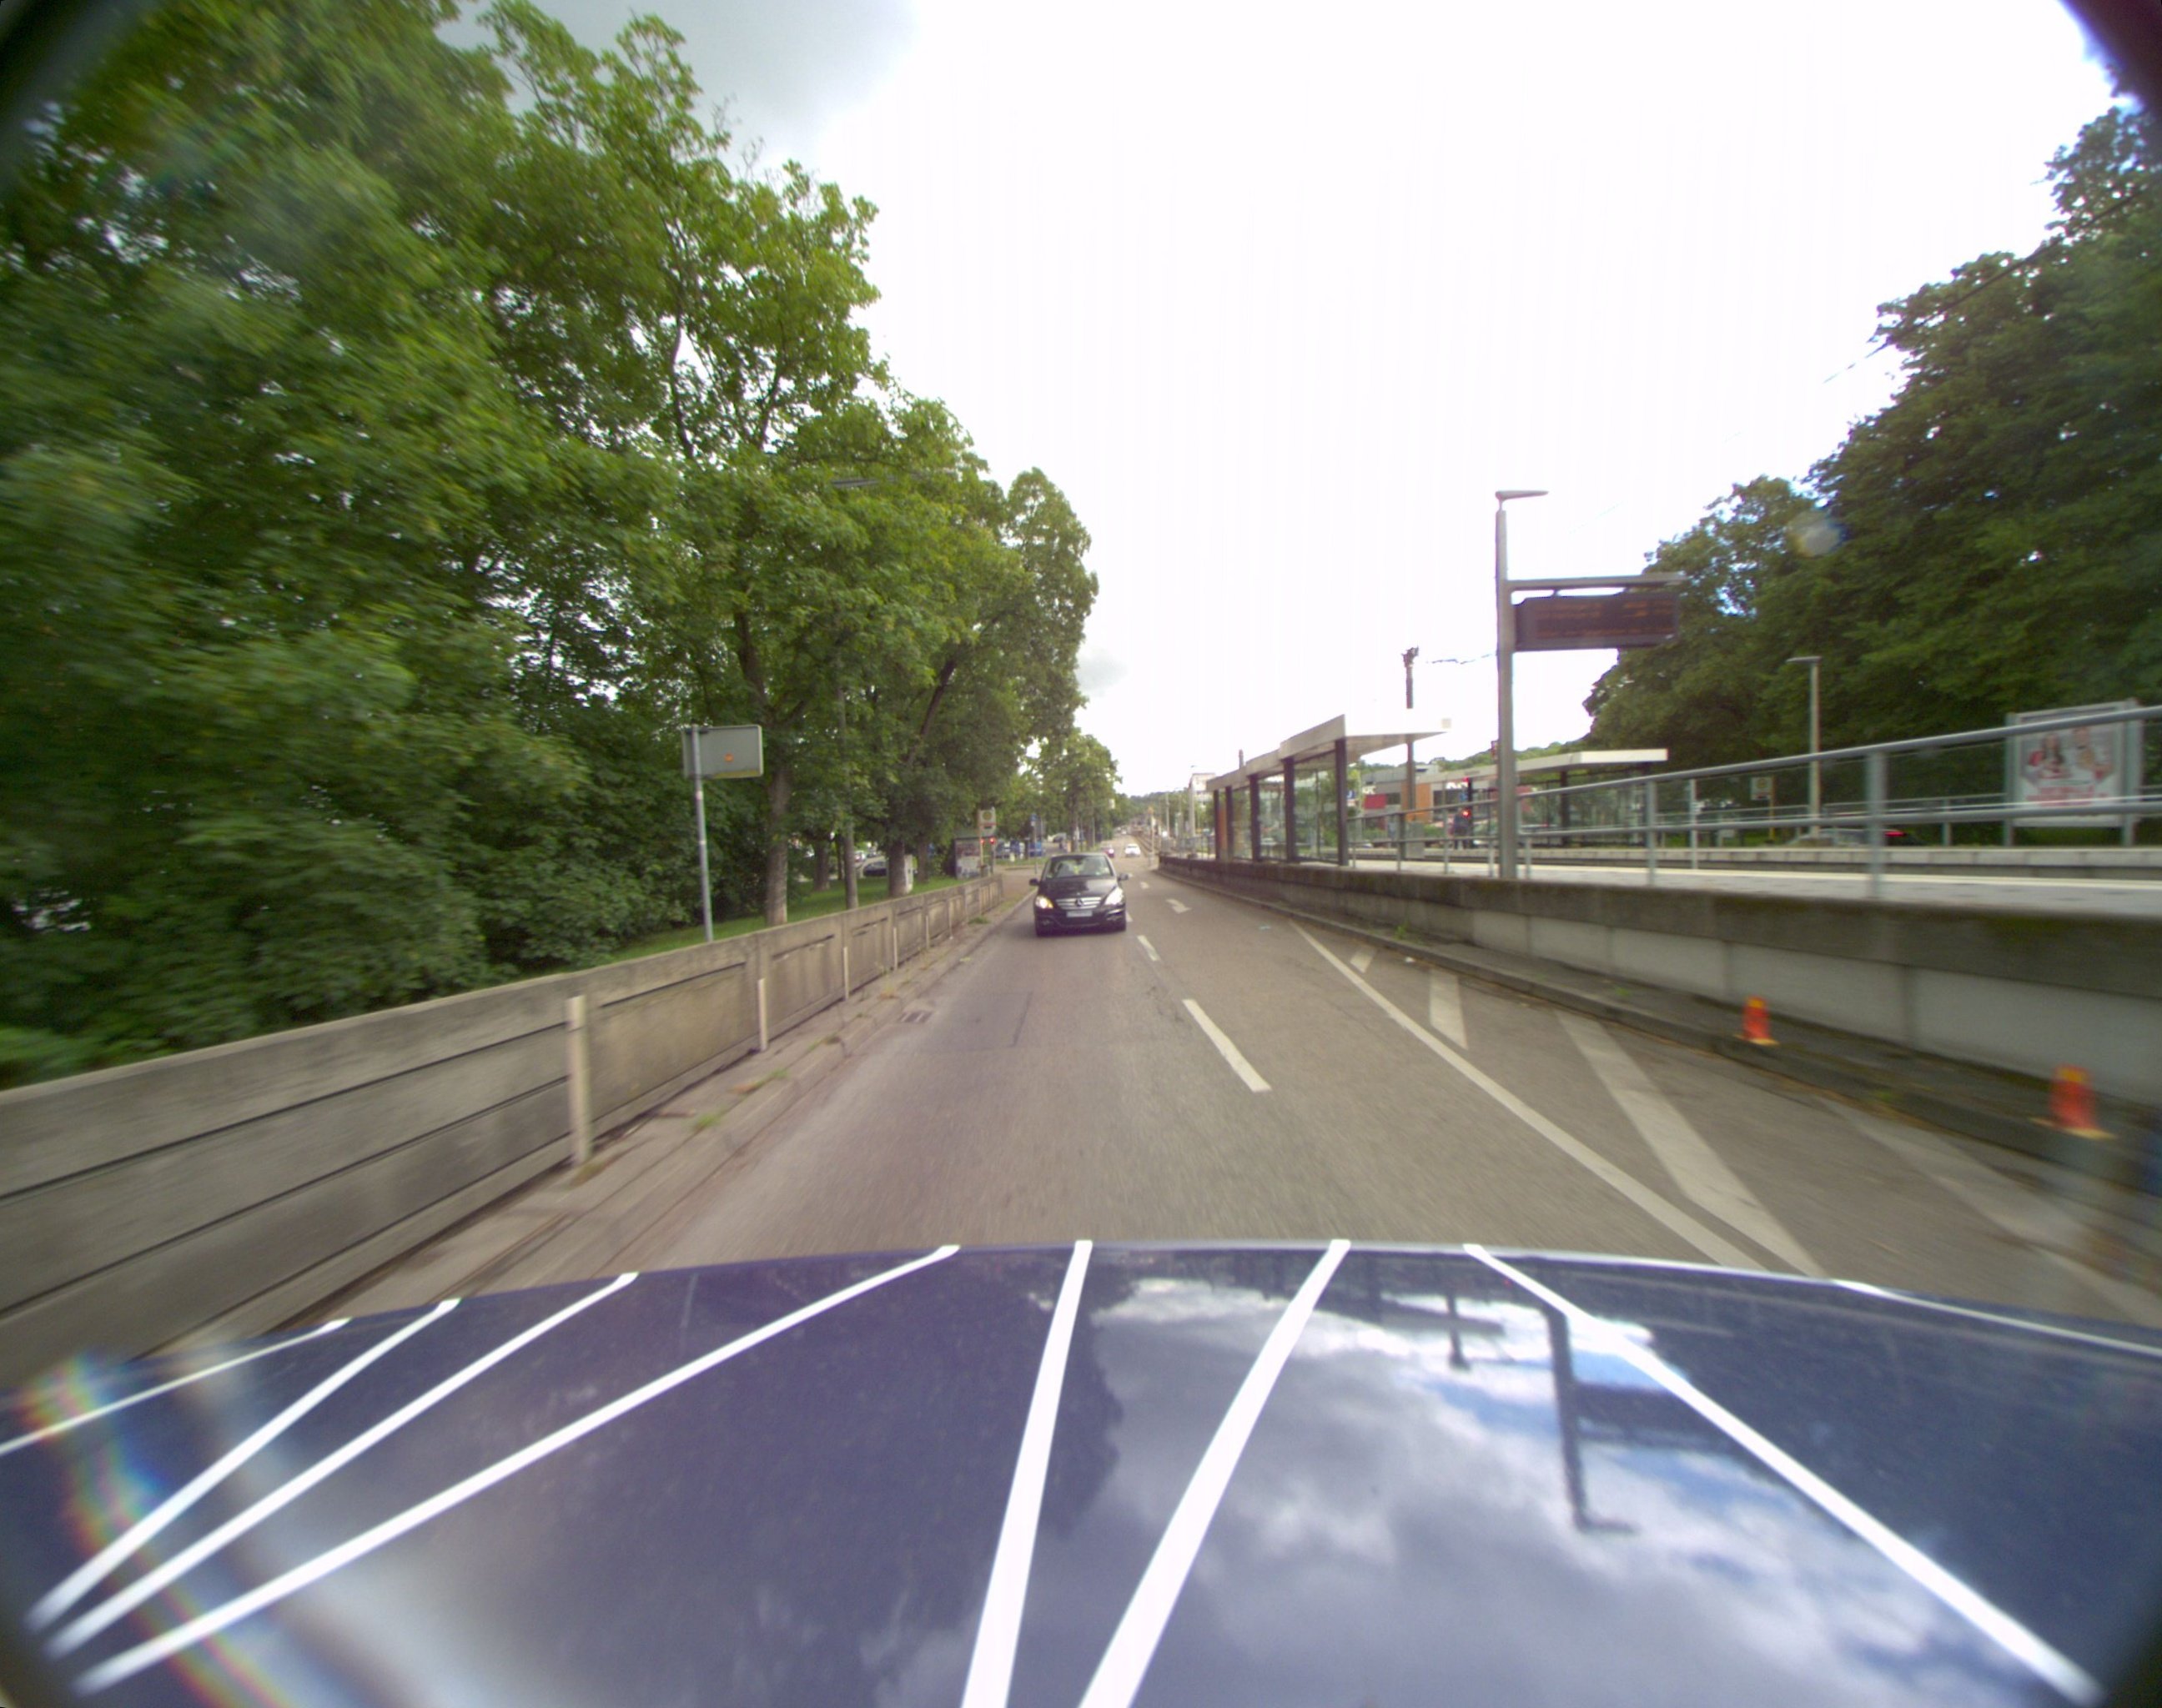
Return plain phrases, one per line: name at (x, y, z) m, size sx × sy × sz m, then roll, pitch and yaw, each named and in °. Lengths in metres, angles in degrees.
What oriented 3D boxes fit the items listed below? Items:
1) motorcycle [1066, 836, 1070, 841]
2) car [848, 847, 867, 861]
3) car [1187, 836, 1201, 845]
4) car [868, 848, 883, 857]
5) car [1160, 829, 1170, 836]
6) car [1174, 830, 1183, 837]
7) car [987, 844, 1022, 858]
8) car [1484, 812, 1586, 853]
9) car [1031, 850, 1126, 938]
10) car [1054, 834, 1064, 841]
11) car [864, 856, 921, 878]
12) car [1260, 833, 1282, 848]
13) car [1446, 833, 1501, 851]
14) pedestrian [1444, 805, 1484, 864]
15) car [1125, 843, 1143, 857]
motorcycle at (-3.151, -3.702, 181.816) m, size 0.704 × 1.180 × 2.387 m, roll -2°, pitch 2°, yaw -3°
car at (-32.639, 0.001, 111.057) m, size 1.948 × 1.832 × 4.247 m, roll -5°, pitch 2°, yaw -9°
car at (20.315, -2.465, 136.548) m, size 1.599 × 1.438 × 4.051 m, roll -1°, pitch 2°, yaw -3°
car at (-36.167, -0.263, 133.815) m, size 2.000 × 1.456 × 3.996 m, roll -5°, pitch 2°, yaw -8°
car at (23.622, -5.975, 213.394) m, size 1.999 × 2.002 × 4.883 m, roll -2°, pitch 2°, yaw -3°
car at (27.640, -5.840, 215.961) m, size 1.999 × 2.002 × 4.105 m, roll -2°, pitch 2°, yaw -1°
car at (-9.996, -0.348, 99.256) m, size 4.215 × 1.688 × 1.837 m, roll -2°, pitch 1°, yaw -16°
car at (21.421, -1.014, 36.088) m, size 1.998 × 1.665 × 4.622 m, roll -5°, pitch 2°, yaw 0°
car at (0.066, 0.784, 17.014) m, size 1.786 × 1.614 × 4.000 m, roll -3°, pitch 1°, yaw 3°
car at (-5.360, -4.018, 187.506) m, size 1.998 × 1.630 × 4.326 m, roll 0°, pitch 2°, yaw 4°
car at (-15.443, 1.071, 62.325) m, size 4.160 × 1.517 × 1.705 m, roll -2°, pitch 3°, yaw 9°
car at (23.410, -1.671, 93.799) m, size 1.714 × 1.741 × 4.398 m, roll -1°, pitch 2°, yaw 0°
car at (33.963, -1.013, 65.828) m, size 3.885 × 1.400 × 1.848 m, roll -2°, pitch 2°, yaw 12°
pedestrian at (14.605, -0.727, 29.010) m, size 0.972 × 2.173 × 0.976 m, roll -3°, pitch 2°, yaw 2°
car at (6.224, -0.497, 89.895) m, size 1.786 × 1.436 × 3.999 m, roll -5°, pitch 2°, yaw 1°
